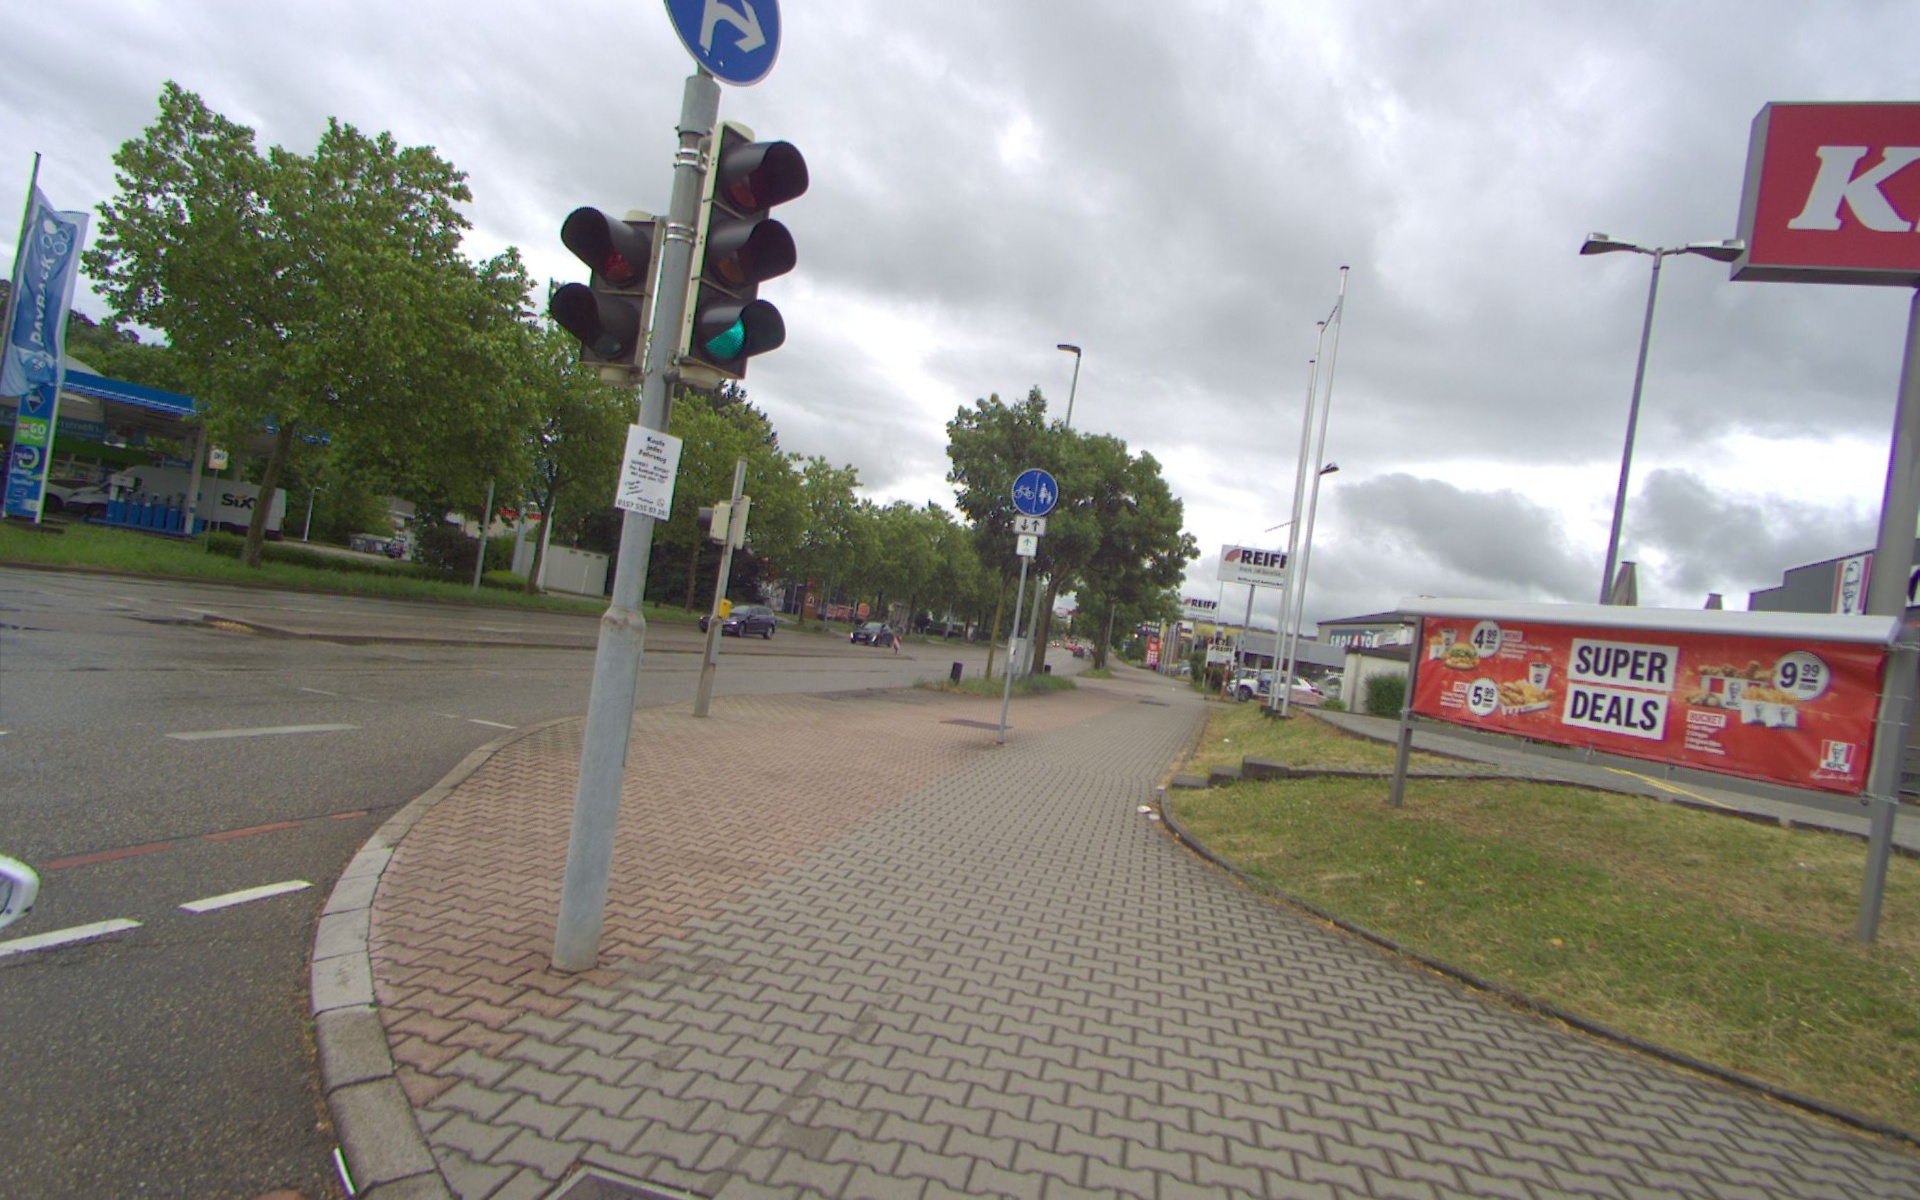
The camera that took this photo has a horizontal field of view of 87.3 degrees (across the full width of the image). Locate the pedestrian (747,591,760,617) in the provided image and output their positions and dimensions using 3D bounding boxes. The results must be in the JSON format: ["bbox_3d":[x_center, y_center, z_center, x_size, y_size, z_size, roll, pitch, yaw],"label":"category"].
[{"bbox_3d":[-13.995,0.296,68.181,0.503,1.702,0.541,7,-1,11],"label":"pedestrian"}]

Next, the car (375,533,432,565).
[{"bbox_3d":[-41.992,-3.812,76.049,1.964,1.859,4.001,7,-2,-2],"label":"car"}]

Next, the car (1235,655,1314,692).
[{"bbox_3d":[19.054,4.455,60.905,4.088,1.683,1.817,7,0,33],"label":"car"}]

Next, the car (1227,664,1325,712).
[{"bbox_3d":[14.680,4.066,46.858,4.109,1.570,1.891,8,-1,18],"label":"car"}]

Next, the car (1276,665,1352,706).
[{"bbox_3d":[25.218,6.085,71.825,4.579,2.174,1.967,8,-1,9],"label":"car"}]

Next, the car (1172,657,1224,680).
[{"bbox_3d":[19.208,5.548,81.286,3.923,1.562,1.814,4,-2,11],"label":"car"}]

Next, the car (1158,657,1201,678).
[{"bbox_3d":[22.049,6.802,101.029,3.924,1.556,1.802,8,-1,9],"label":"car"}]

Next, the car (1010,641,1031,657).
[{"bbox_3d":[7.314,5.974,122.178,1.783,1.579,4.605,8,-2,11],"label":"car"}]

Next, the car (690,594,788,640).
[{"bbox_3d":[-9.473,0.770,43.505,1.962,1.525,4.735,7,-2,16],"label":"car"}]

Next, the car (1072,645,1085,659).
[{"bbox_3d":[19.348,8.493,163.781,1.717,2.037,4.005,8,-2,10],"label":"car"}]

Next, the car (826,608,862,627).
[{"bbox_3d":[-11.457,1.728,99.337,3.126,1.168,1.292,11,0,17],"label":"car"}]

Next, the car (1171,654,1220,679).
[{"bbox_3d":[20.116,5.701,86.168,3.923,1.807,1.814,3,-2,11],"label":"car"}]

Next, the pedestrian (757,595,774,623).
[{"bbox_3d":[-13.246,0.605,68.380,0.656,1.787,0.582,9,0,32],"label":"pedestrian"}]

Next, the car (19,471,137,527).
[{"bbox_3d":[-37.954,-4.323,43.409,3.537,1.599,1.673,11,-3,-37],"label":"car"}]

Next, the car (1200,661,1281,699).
[{"bbox_3d":[15.248,4.347,54.707,3.928,1.540,1.718,7,-2,24],"label":"car"}]

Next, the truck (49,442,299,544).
[{"bbox_3d":[-32.292,-4.292,41.649,7.825,2.706,2.129,9,-2,-43],"label":"truck"}]

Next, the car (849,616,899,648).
[{"bbox_3d":[-5.091,1.936,59.822,1.617,1.525,3.898,7,-2,14],"label":"car"}]

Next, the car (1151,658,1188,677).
[{"bbox_3d":[22.923,7.404,110.082,3.780,1.622,1.797,5,-2,9],"label":"car"}]
